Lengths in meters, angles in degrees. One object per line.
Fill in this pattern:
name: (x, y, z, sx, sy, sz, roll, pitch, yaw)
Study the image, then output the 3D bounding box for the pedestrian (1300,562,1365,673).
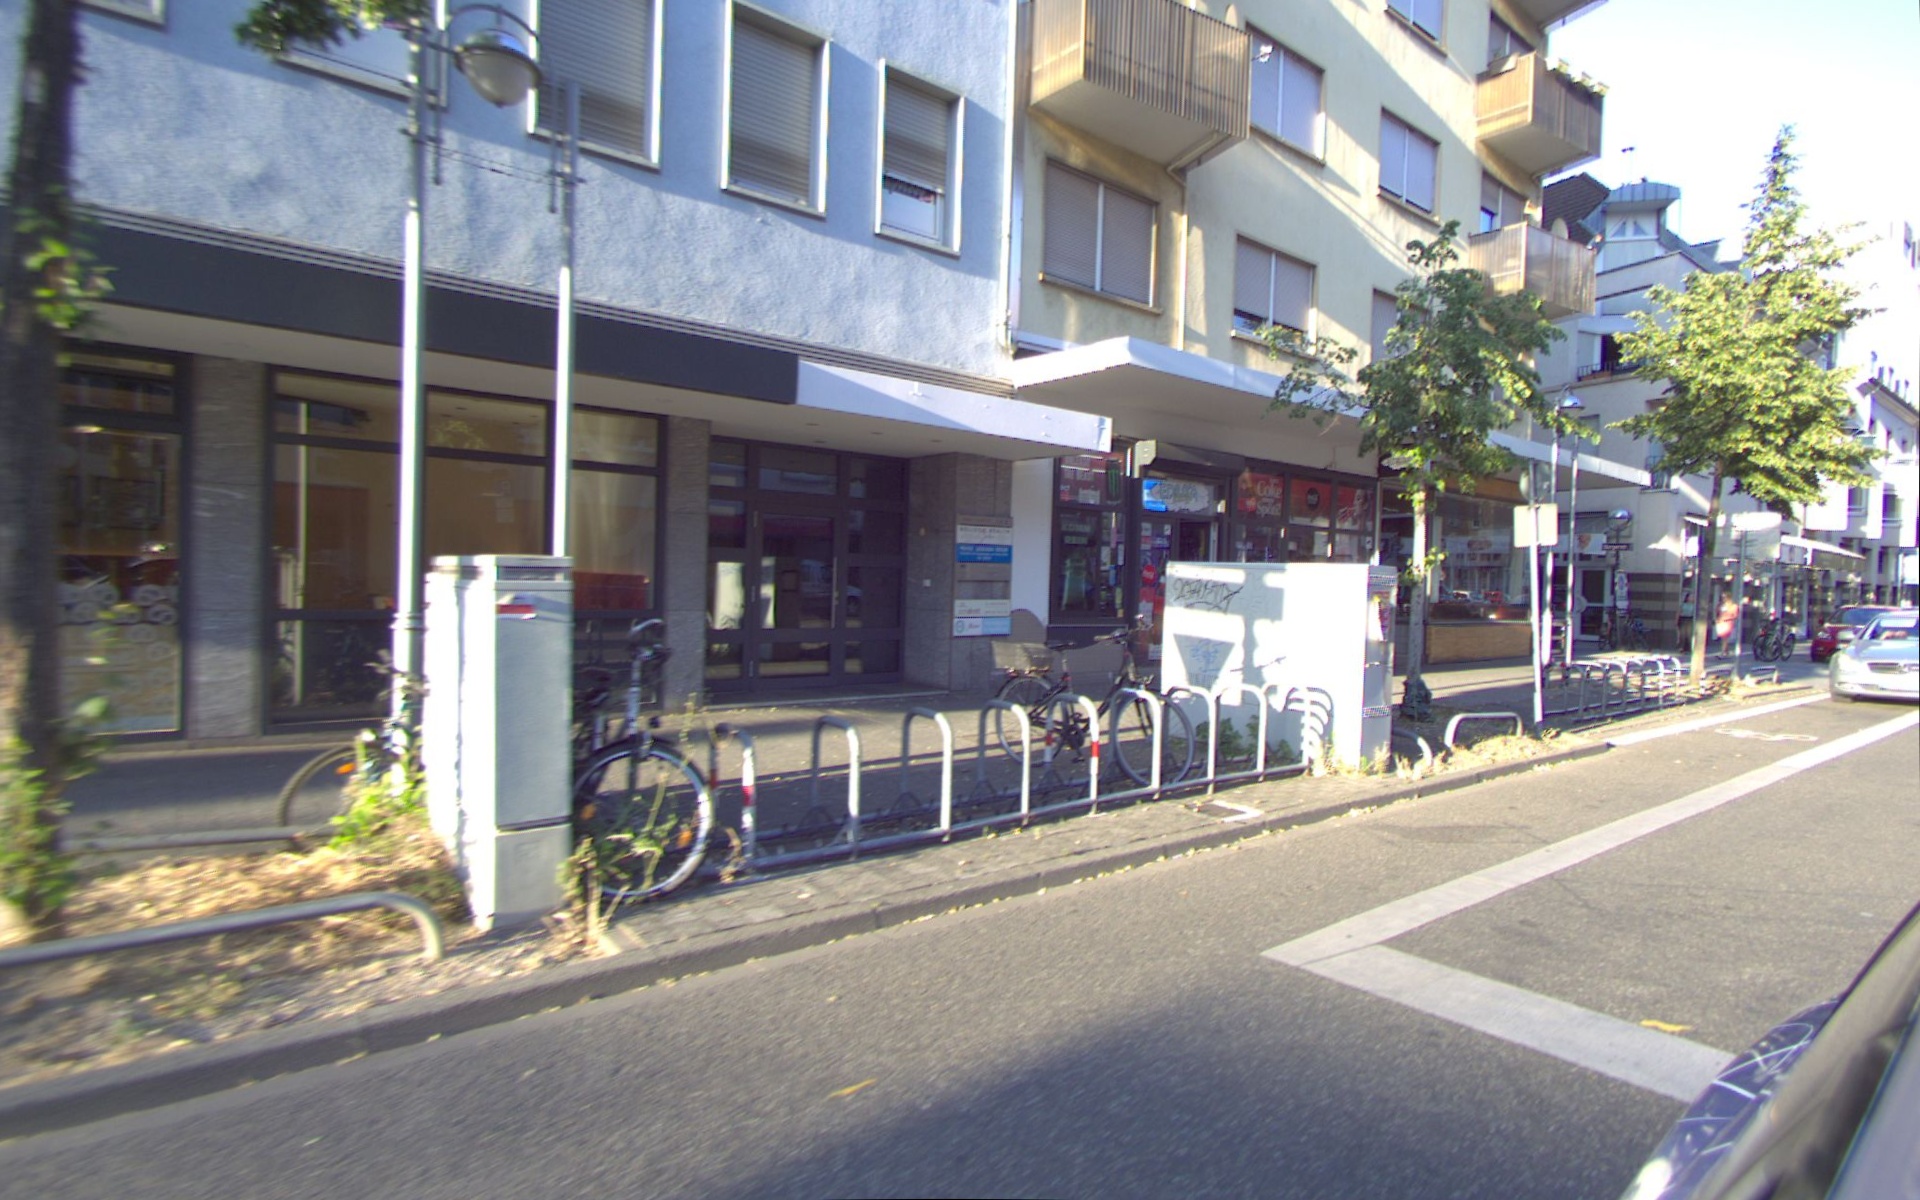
pedestrian: (5.825, 0.269, 15.820, 0.763, 1.681, 0.643, 1, -1, -38)

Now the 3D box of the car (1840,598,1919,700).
car: (14.922, 0.686, 15.270, 4.470, 1.395, 1.804, 0, 0, -40)

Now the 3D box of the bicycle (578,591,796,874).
bicycle: (-1.548, 0.594, 5.479, 0.461, 1.218, 1.919, 1, 2, -36)

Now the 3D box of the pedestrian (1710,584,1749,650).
pedestrian: (18.439, 0.390, 24.249, 0.543, 1.549, 0.542, 1, 1, -33)

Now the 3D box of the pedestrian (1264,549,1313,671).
pedestrian: (4.973, 0.143, 15.316, 0.577, 1.805, 0.522, 0, -1, 32)

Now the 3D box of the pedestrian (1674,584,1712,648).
pedestrian: (18.173, 0.381, 25.085, 0.638, 1.549, 0.542, 1, 1, -33)

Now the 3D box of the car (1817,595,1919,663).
car: (22.523, 0.662, 24.711, 3.960, 1.439, 1.727, 0, 3, -40)

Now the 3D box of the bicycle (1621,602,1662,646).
bicycle: (17.134, 0.579, 25.429, 1.813, 1.063, 0.391, 0, 2, -42)

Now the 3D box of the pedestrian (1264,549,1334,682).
pedestrian: (4.818, 0.214, 14.402, 0.638, 1.830, 0.709, 1, -1, -38)

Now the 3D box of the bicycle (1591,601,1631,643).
bicycle: (16.707, 0.553, 25.955, 1.813, 1.046, 0.391, 0, 2, -42)

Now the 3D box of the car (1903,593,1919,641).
car: (33.259, 0.613, 34.263, 2.753, 1.568, 1.572, 0, 3, -40)

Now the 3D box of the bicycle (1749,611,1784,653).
bicycle: (19.663, 0.762, 24.677, 1.612, 0.968, 0.391, 0, 2, -42)

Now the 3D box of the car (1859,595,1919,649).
car: (27.973, 0.630, 29.743, 3.682, 1.439, 1.727, 0, 3, -40)

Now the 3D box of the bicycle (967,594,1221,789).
bicycle: (0.934, 0.600, 7.490, 1.911, 1.218, 0.463, 3, 2, 41)

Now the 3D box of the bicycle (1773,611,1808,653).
bicycle: (20.078, 0.766, 24.455, 1.588, 0.968, 0.391, 0, 2, -42)

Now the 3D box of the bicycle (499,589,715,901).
bicycle: (-1.835, 0.589, 5.057, 0.461, 1.218, 1.919, 1, 2, -36)
